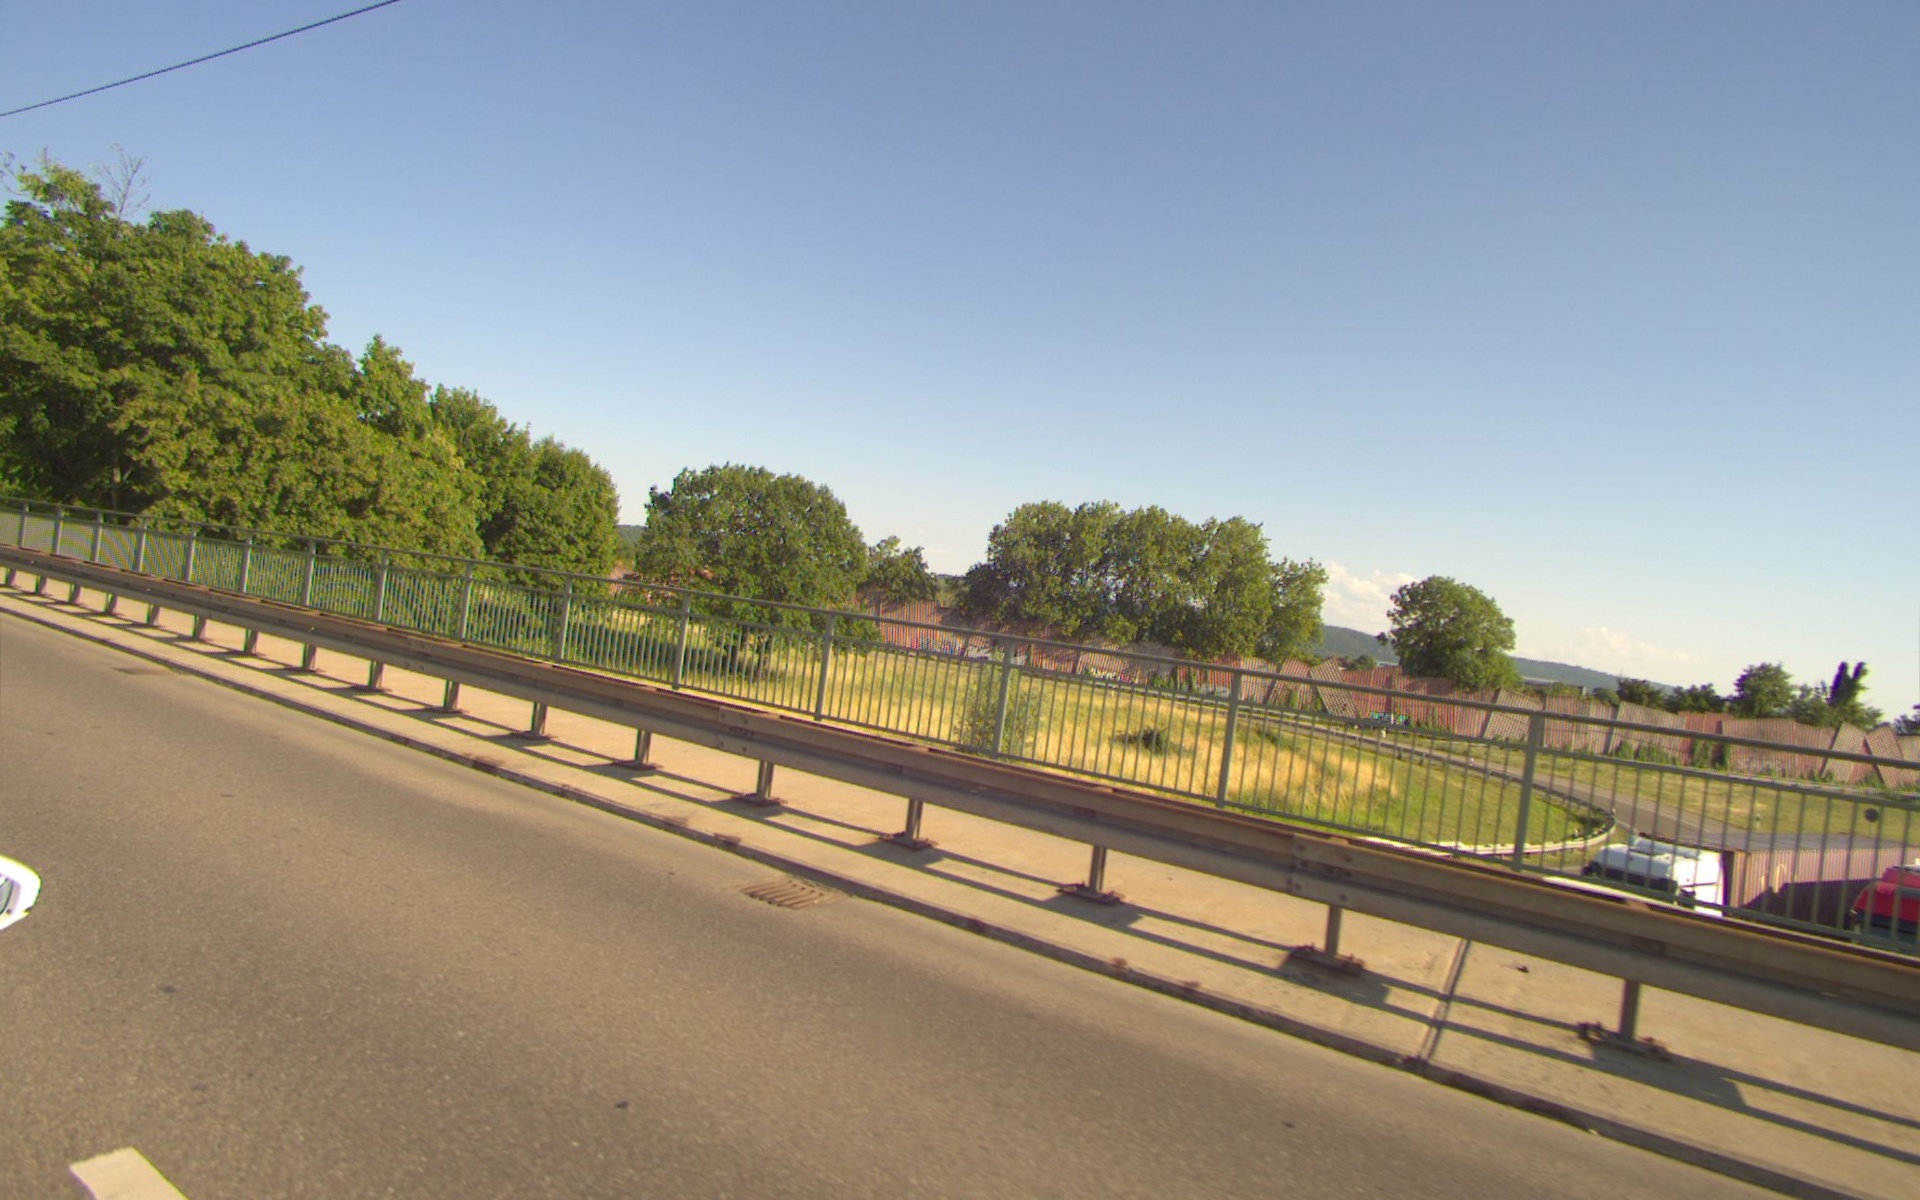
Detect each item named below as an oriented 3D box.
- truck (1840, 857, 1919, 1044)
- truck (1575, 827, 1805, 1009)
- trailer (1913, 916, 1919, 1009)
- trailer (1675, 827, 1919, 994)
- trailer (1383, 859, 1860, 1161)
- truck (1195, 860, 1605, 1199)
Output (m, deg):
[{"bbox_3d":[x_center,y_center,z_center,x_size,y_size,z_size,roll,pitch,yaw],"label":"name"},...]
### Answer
[{"bbox_3d":[26.560,9.214,26.660,6.408,4.219,2.543,7,-2,-28],"label":"truck"},{"bbox_3d":[20.912,8.861,28.746,6.408,4.219,2.543,7,-2,-28],"label":"truck"},{"bbox_3d":[32.769,10.005,29.952,11.841,4.204,2.543,7,-2,-28],"label":"trailer"},{"bbox_3d":[27.634,9.692,32.323,11.352,4.204,2.543,7,-2,-28],"label":"trailer"},{"bbox_3d":[13.457,7.548,19.906,11.352,4.114,2.543,7,-2,-28],"label":"trailer"},{"bbox_3d":[7.385,6.738,16.713,6.408,4.179,2.543,7,-2,-28],"label":"truck"}]
